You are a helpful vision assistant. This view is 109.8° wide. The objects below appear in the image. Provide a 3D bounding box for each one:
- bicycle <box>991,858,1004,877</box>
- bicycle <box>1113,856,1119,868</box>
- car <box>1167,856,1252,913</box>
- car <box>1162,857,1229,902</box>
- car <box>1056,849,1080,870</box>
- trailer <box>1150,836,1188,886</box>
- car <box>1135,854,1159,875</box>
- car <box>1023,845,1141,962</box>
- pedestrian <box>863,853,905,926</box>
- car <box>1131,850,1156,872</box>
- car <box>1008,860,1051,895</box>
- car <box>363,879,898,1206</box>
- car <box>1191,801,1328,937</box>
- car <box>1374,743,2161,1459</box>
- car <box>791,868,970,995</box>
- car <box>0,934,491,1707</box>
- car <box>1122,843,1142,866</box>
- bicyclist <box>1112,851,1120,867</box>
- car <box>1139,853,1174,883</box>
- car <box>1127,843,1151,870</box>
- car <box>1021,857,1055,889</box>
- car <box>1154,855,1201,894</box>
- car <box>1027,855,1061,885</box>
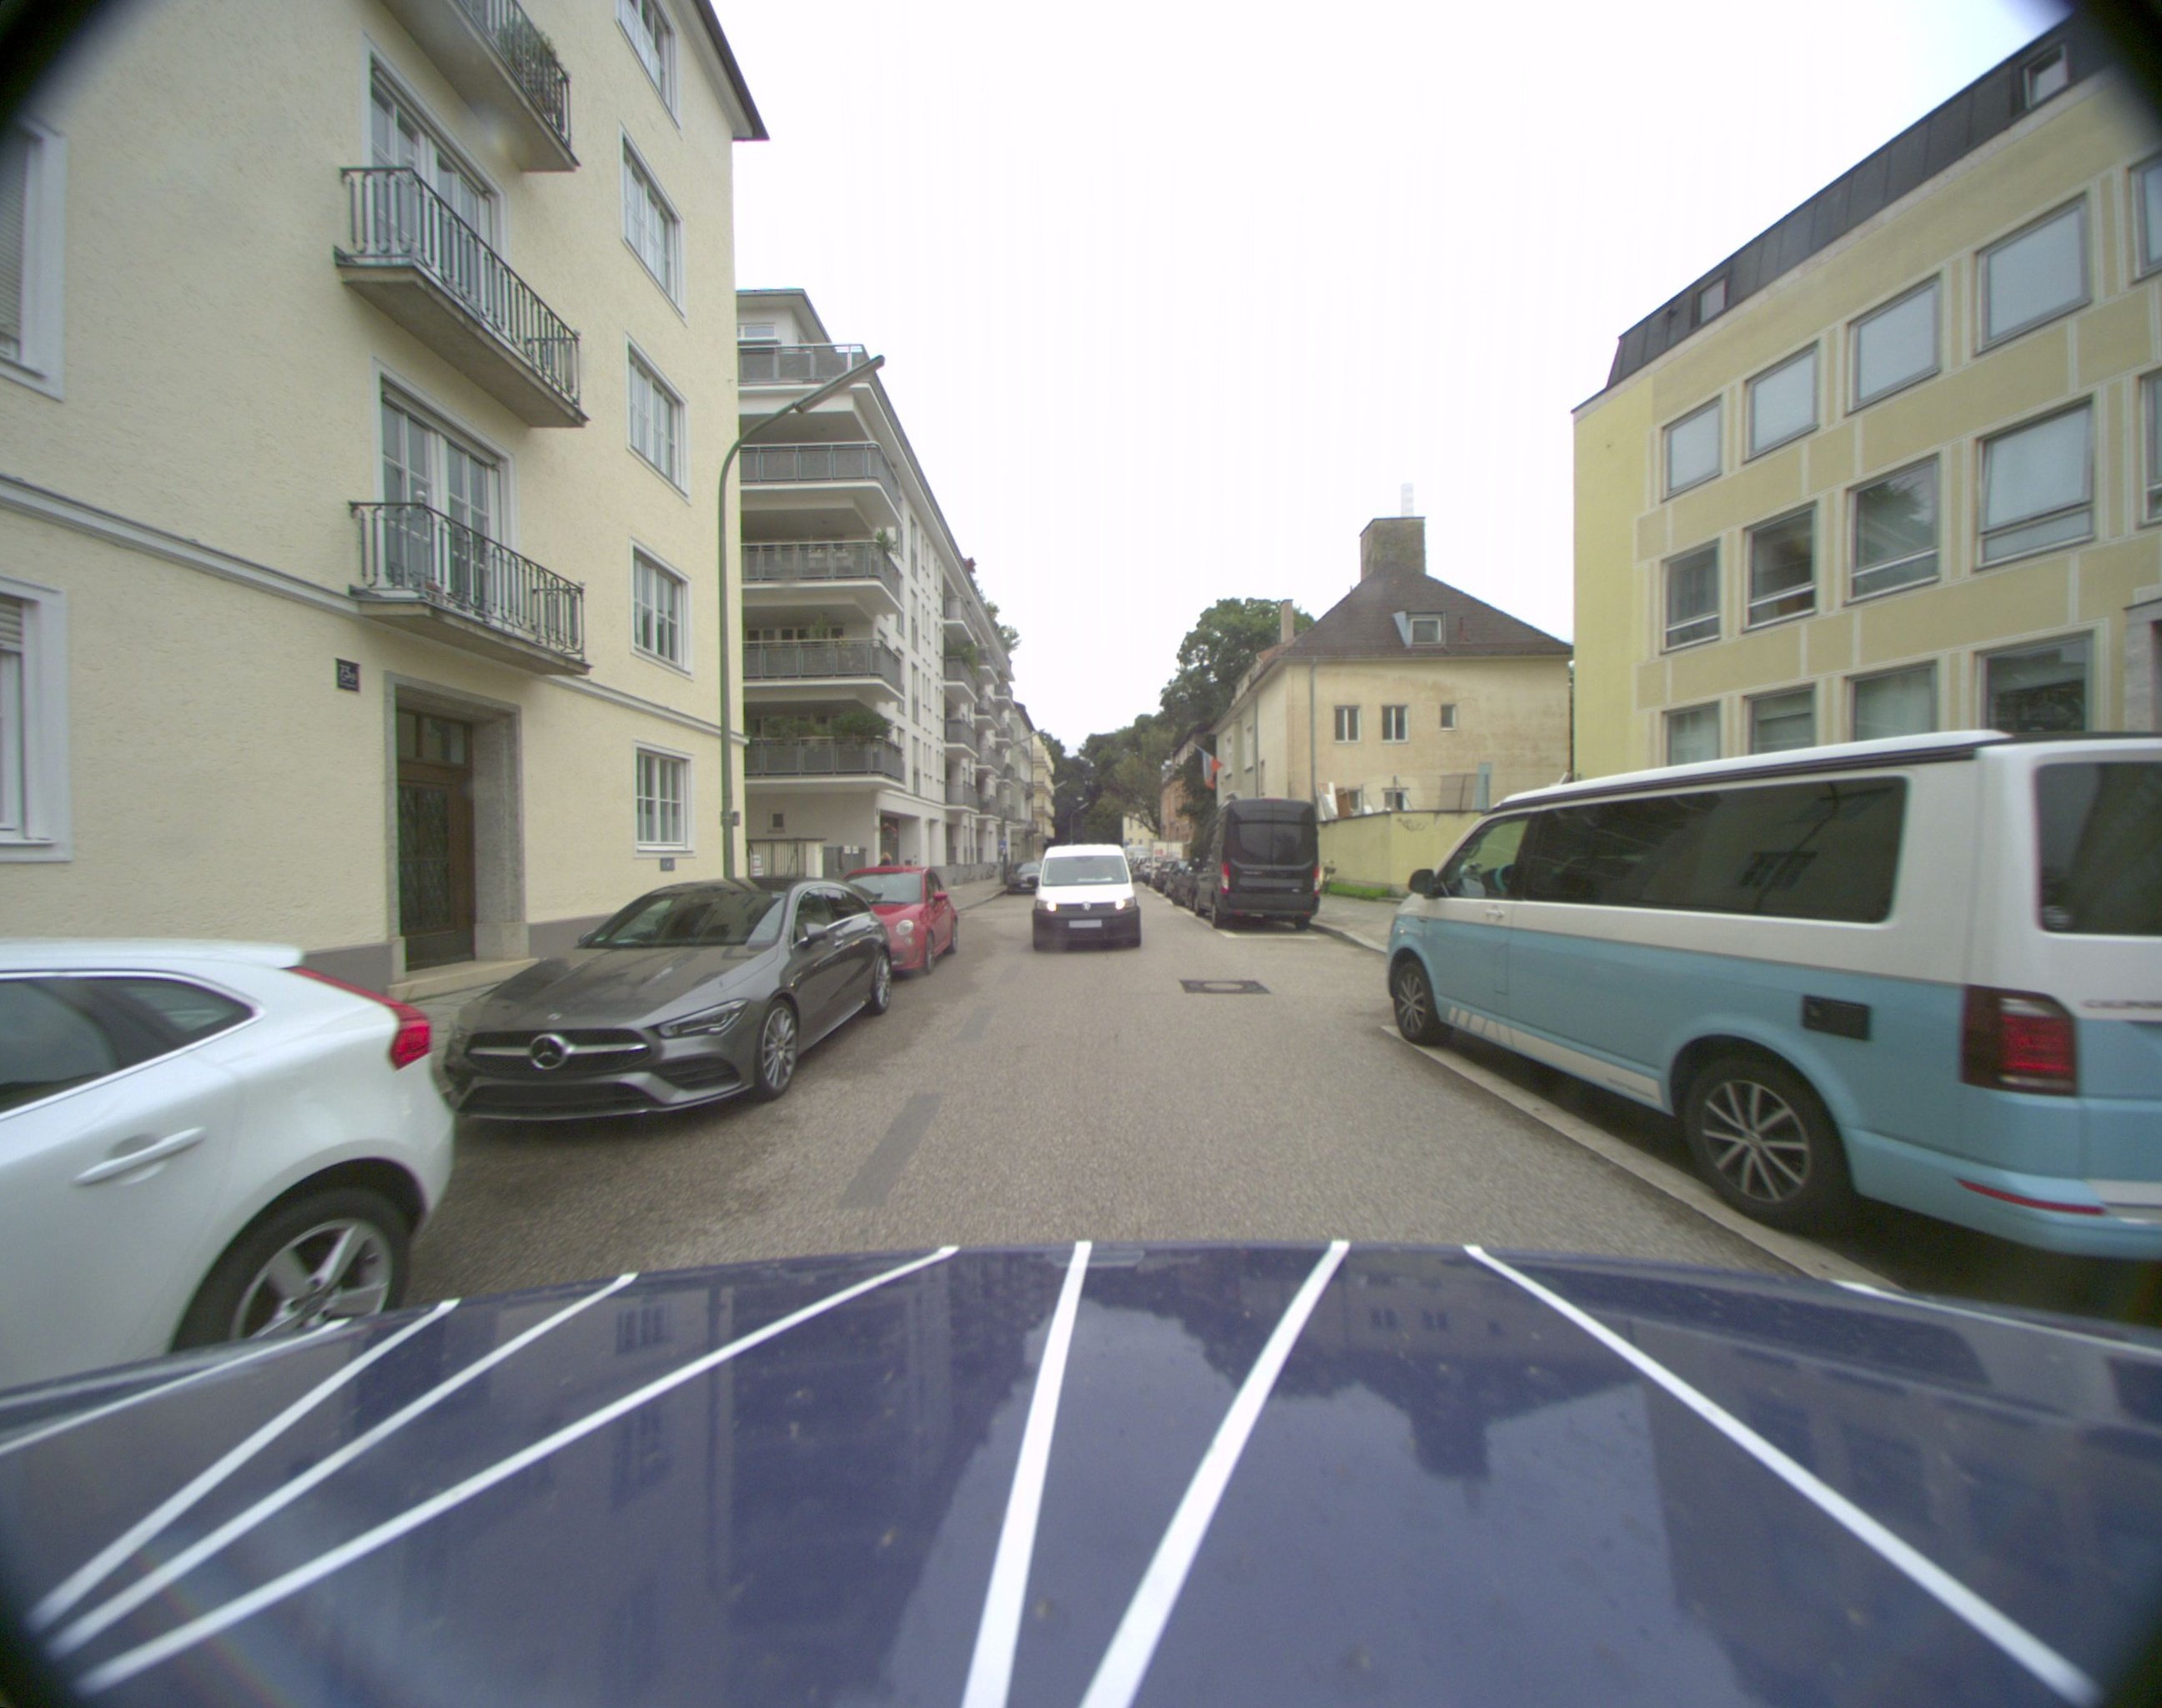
[{"bbox_3d":[-5.368,0.869,48.989,0.629,1.153,2.127,-1,0,-1],"label":"bicycle"},{"bbox_3d":[3.401,0.758,73.586,0.505,1.121,1.773,0,0,4],"label":"bicycle"},{"bbox_3d":[3.742,0.842,22.623,1.590,1.529,3.541,-1,0,-6],"label":"car"},{"bbox_3d":[4.033,0.855,27.239,1.705,1.437,3.824,-2,0,-1],"label":"car"},{"bbox_3d":[-1.219,0.532,72.845,1.858,1.885,4.592,-3,0,2],"label":"car"},{"bbox_3d":[4.587,0.334,39.967,1.713,2.447,4.387,1,0,4],"label":"trailer"},{"bbox_3d":[4.847,0.767,56.062,1.477,1.458,3.313,0,0,0],"label":"car"},{"bbox_3d":[0.111,0.768,13.770,1.776,1.761,4.001,-2,0,3],"label":"car"},{"bbox_3d":[-4.847,0.850,18.728,0.796,1.718,0.672,-2,2,-2],"label":"pedestrian"},{"bbox_3d":[5.051,0.547,62.107,1.694,1.793,4.145,1,0,0],"label":"car"},{"bbox_3d":[-2.325,1.046,35.087,1.768,1.400,4.077,-1,1,-2],"label":"car"},{"bbox_3d":[-2.853,1.052,6.113,1.697,1.483,4.342,-1,1,0],"label":"car"},{"bbox_3d":[3.877,0.306,17.569,2.093,2.620,5.377,-1,0,3],"label":"car"},{"bbox_3d":[3.597,0.681,4.368,1.888,1.920,4.600,1,0,-2],"label":"car"},{"bbox_3d":[-2.803,1.018,11.488,1.599,1.500,3.801,-1,0,1],"label":"car"},{"bbox_3d":[-3.020,1.022,0.646,1.697,1.482,4.283,-1,-1,0],"label":"car"},{"bbox_3d":[5.938,0.090,88.665,2.118,2.525,4.422,2,0,2],"label":"car"},{"bbox_3d":[3.392,0.453,73.567,0.695,1.552,0.967,0,1,4],"label":"bicyclist"},{"bbox_3d":[4.401,0.779,44.764,1.691,1.594,3.921,1,1,1],"label":"car"},{"bbox_3d":[5.534,0.190,72.536,1.986,2.463,5.223,0,0,1],"label":"car"},{"bbox_3d":[-2.226,0.994,40.127,1.523,1.521,3.527,-3,-1,0],"label":"car"},{"bbox_3d":[4.232,0.862,33.816,1.770,1.529,4.541,1,1,4],"label":"car"},{"bbox_3d":[-2.140,0.906,44.937,1.738,1.521,4.621,-4,0,0],"label":"car"}]
